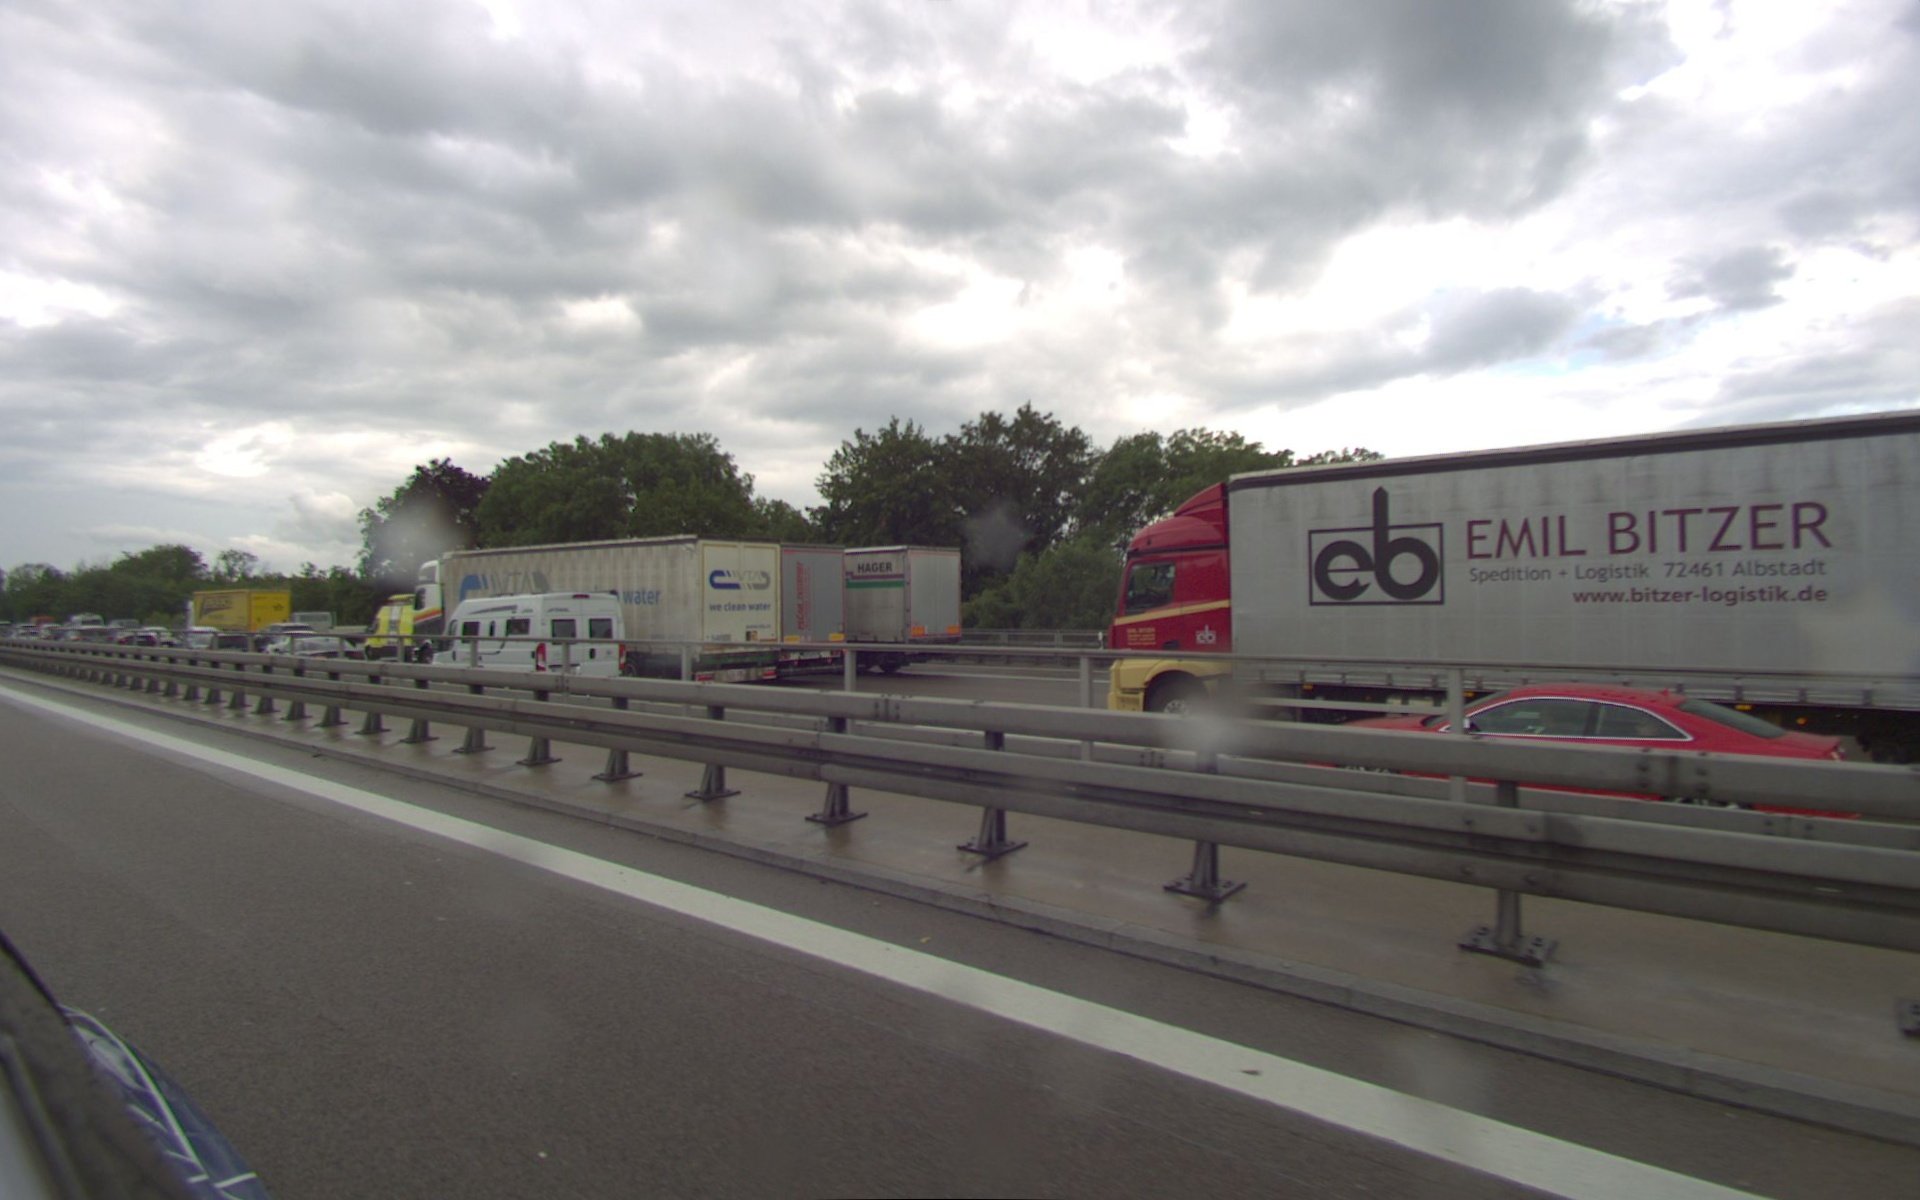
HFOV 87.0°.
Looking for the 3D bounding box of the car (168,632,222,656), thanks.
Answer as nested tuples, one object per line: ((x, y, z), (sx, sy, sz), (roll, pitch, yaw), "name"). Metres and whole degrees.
((-50.129, 2.843, 66.282), (4.412, 1.490, 1.731), (-1, -2, 38), "car")

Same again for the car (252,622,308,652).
((-37.701, 2.034, 56.091), (3.997, 1.608, 1.518), (-1, -2, 40), "car")

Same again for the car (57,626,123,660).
((-47.651, 2.307, 55.374), (5.327, 1.780, 1.894), (-1, -2, 40), "car")

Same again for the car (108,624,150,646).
((-79.792, 3.366, 97.133), (5.404, 2.029, 1.975), (-1, -2, 38), "car")

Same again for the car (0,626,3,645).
((-77.416, 2.789, 79.889), (4.834, 1.474, 1.975), (-2, -2, 38), "car")

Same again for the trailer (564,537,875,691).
((-8.282, 0.536, 32.795), (13.023, 4.177, 2.850), (-1, -2, 42), "trailer")

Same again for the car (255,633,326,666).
((-30.199, 2.212, 45.606), (4.097, 1.397, 1.585), (-1, -2, 40), "car")

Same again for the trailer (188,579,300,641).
((-53.714, 0.858, 75.625), (14.497, 4.260, 3.214), (-1, -2, 40), "trailer")

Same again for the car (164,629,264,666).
((-29.820, 1.845, 40.402), (5.455, 1.397, 1.994), (-1, -2, 40), "car")

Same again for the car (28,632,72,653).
((-72.134, 3.325, 80.180), (4.570, 1.624, 1.762), (-1, -2, 37), "car")

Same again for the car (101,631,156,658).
((-51.364, 2.722, 62.503), (4.412, 1.589, 1.731), (-1, -2, 38), "car")

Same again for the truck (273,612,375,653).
((-39.670, 2.015, 62.976), (9.267, 2.389, 2.653), (-1, -2, 40), "truck")

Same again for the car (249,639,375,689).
((-20.612, 1.961, 32.094), (5.160, 1.429, 1.903), (-1, -2, 40), "car")

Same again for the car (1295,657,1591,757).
((7.944, 1.684, 16.874), (4.191, 1.354, 1.582), (-1, -2, 40), "car")

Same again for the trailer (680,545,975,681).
((-5.020, 0.524, 35.026), (12.301, 4.024, 2.729), (-1, -2, 41), "trailer")

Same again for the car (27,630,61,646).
((-92.732, 3.826, 102.447), (4.456, 1.625, 1.711), (-1, -2, 37), "car")

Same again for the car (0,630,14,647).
((-94.043, 3.796, 98.747), (4.456, 1.625, 1.845), (-2, -3, 37), "car")

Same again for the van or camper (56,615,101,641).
((-93.874, 2.999, 107.749), (7.220, 2.786, 2.181), (-2, -2, 38), "van or camper")

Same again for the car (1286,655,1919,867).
((5.875, 1.292, 9.540), (5.007, 1.429, 1.903), (-1, -2, 40), "car")

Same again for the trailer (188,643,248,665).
((-38.610, 2.799, 52.657), (3.337, 1.045, 1.708), (-1, -2, 38), "trailer")

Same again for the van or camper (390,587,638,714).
((-10.456, 1.098, 23.322), (7.296, 2.515, 2.255), (-1, -2, 40), "van or camper")

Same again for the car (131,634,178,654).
((-59.276, 3.209, 74.451), (4.047, 1.449, 1.805), (-1, -2, 38), "car")

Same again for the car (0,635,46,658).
((-62.322, 3.060, 67.091), (4.814, 1.393, 1.745), (-1, -2, 38), "car")

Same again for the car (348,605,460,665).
((-25.226, 1.569, 45.797), (6.767, 2.524, 2.134), (-1, -2, 40), "car")

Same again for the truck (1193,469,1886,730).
((10.625, 0.129, 20.397), (11.687, 4.012, 2.692), (-2, -2, 41), "truck")

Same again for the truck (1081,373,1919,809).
((7.616, 0.002, 12.999), (12.512, 4.180, 2.953), (-1, -2, 40), "truck")

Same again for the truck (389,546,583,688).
((-15.774, 0.597, 33.417), (7.550, 4.212, 2.851), (-1, -2, 40), "truck")

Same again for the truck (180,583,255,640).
((-58.480, 0.946, 79.658), (6.876, 4.282, 3.214), (-1, -2, 40), "truck")

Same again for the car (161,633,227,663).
((-41.781, 2.586, 55.178), (4.683, 1.589, 1.731), (-1, -2, 38), "car")

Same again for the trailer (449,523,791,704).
((-10.159, 0.458, 28.705), (13.017, 4.177, 2.851), (-1, -2, 40), "trailer")

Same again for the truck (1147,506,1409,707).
((7.232, 0.196, 23.330), (5.106, 4.100, 2.674), (-1, -2, 41), "truck")

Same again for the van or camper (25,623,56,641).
((-115.896, 4.020, 127.469), (6.227, 2.322, 1.921), (-1, -2, 39), "van or camper")
